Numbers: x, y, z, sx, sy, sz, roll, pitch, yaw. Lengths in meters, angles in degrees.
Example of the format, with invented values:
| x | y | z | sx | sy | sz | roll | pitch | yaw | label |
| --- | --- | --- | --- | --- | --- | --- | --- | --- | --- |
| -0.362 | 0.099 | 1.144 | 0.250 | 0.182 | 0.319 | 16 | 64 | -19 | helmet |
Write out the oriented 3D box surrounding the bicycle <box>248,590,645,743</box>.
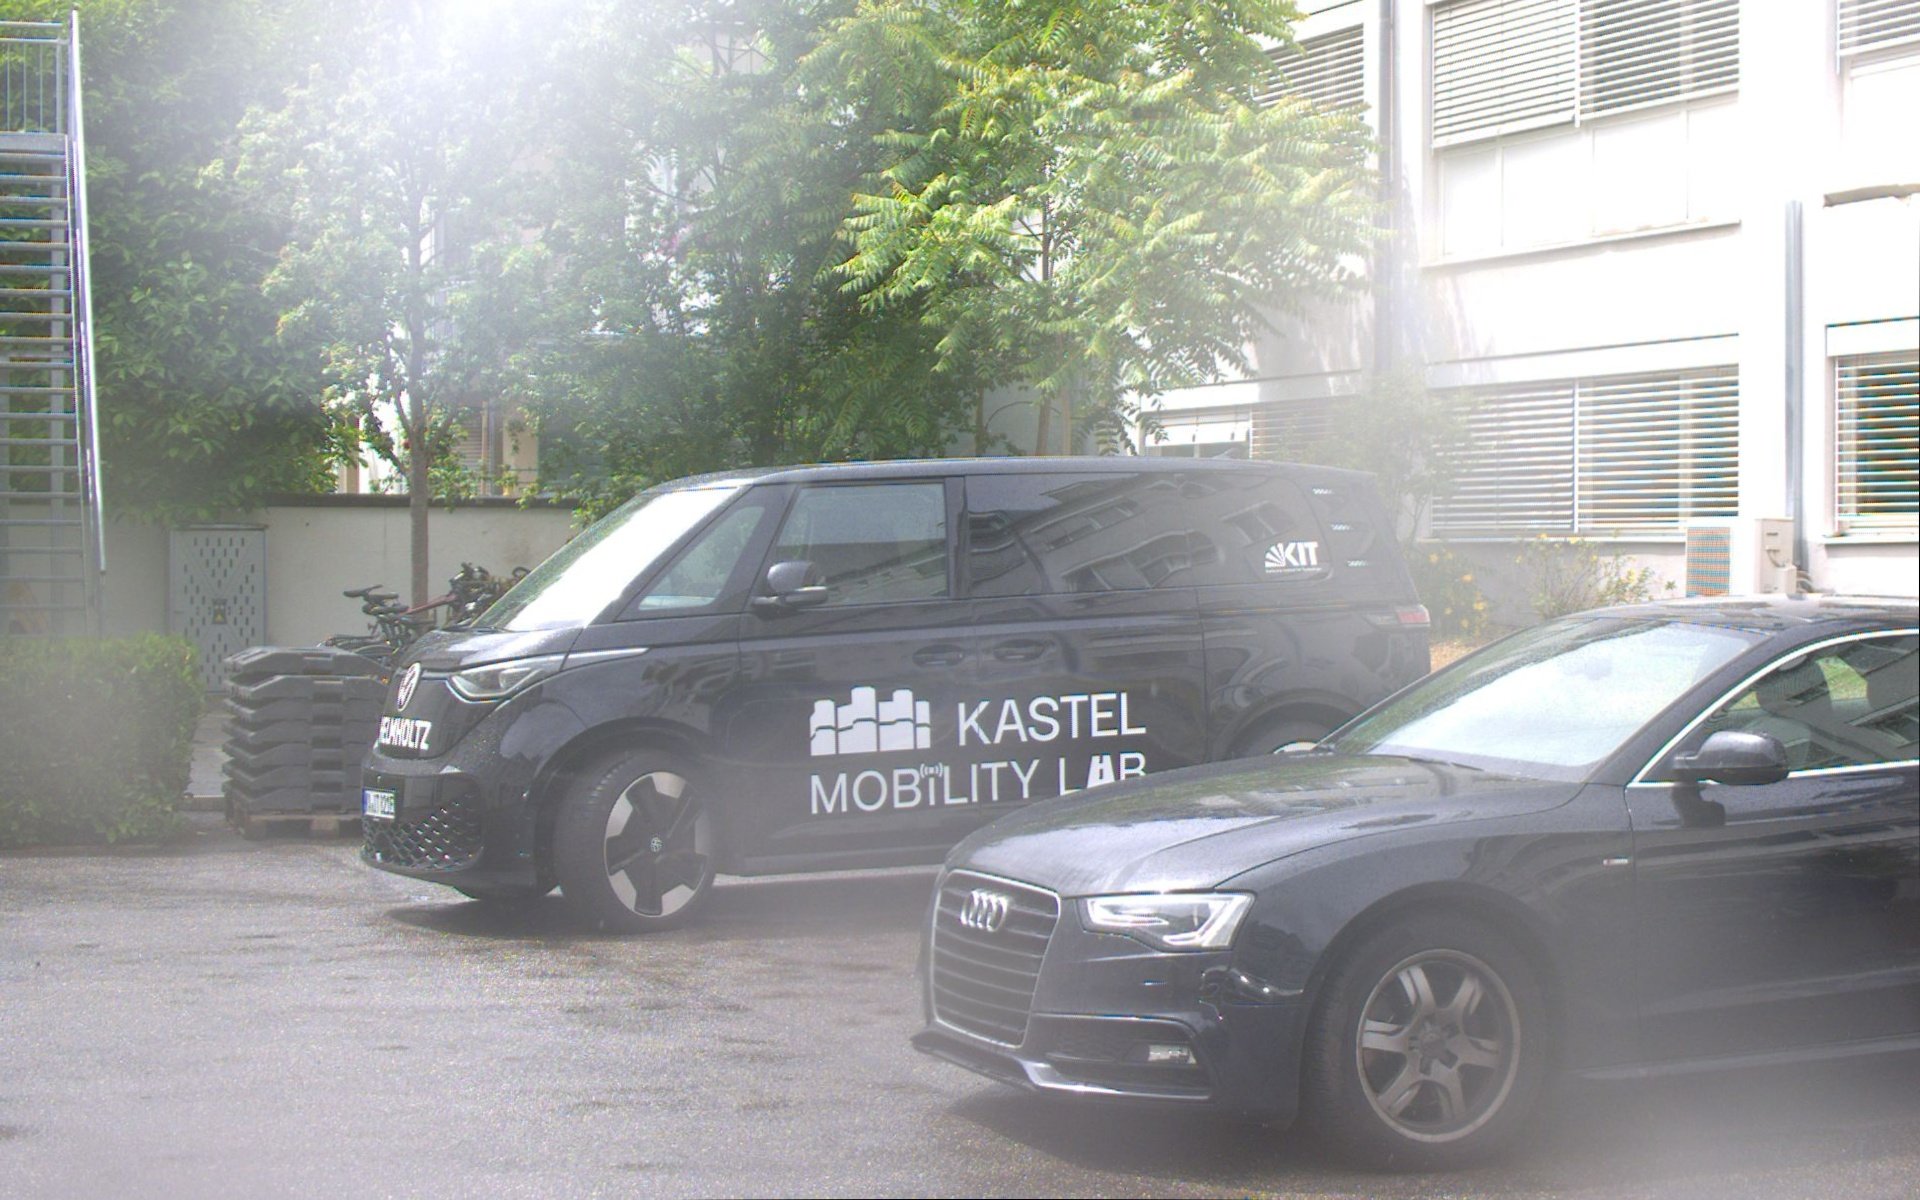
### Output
| x | y | z | sx | sy | sz | roll | pitch | yaw | label |
| --- | --- | --- | --- | --- | --- | --- | --- | --- | --- |
| -3.844 | 0.502 | 25.789 | 2.842 | 1.074 | 0.689 | 1 | 1 | -20 | bicycle |

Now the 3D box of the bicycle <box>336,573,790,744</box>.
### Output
| x | y | z | sx | sy | sz | roll | pitch | yaw | label |
| --- | --- | --- | --- | --- | --- | --- | --- | --- | --- |
| -2.656 | 0.394 | 23.099 | 2.922 | 1.074 | 0.689 | 1 | 1 | -20 | bicycle |

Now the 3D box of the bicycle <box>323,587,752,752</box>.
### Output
| x | y | z | sx | sy | sz | roll | pitch | yaw | label |
| --- | --- | --- | --- | --- | --- | --- | --- | --- | --- |
| -2.919 | 0.486 | 23.837 | 2.842 | 1.074 | 0.689 | 1 | 1 | -20 | bicycle |

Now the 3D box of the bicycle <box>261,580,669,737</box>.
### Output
| x | y | z | sx | sy | sz | roll | pitch | yaw | label |
| --- | --- | --- | --- | --- | --- | --- | --- | --- | --- |
| -3.606 | 0.433 | 25.119 | 2.842 | 1.074 | 0.689 | 1 | 1 | -20 | bicycle |

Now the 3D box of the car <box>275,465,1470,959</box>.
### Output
| x | y | z | sx | sy | sz | roll | pitch | yaw | label |
| --- | --- | --- | --- | --- | --- | --- | --- | --- | --- |
| -0.384 | 0.371 | 14.916 | 4.708 | 1.827 | 2.111 | -2 | 1 | -23 | car |

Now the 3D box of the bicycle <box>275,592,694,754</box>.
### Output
| x | y | z | sx | sy | sz | roll | pitch | yaw | label |
| --- | --- | --- | --- | --- | --- | --- | --- | --- | --- |
| -3.372 | 0.522 | 24.446 | 2.842 | 1.074 | 0.689 | 1 | 1 | -20 | bicycle |

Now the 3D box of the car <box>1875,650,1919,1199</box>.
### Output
| x | y | z | sx | sy | sz | roll | pitch | yaw | label |
| --- | --- | --- | --- | --- | --- | --- | --- | --- | --- |
| 3.742 | 0.741 | 5.331 | 4.169 | 1.396 | 1.940 | -1 | 1 | -23 | car |

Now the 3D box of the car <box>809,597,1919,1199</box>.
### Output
| x | y | z | sx | sy | sz | roll | pitch | yaw | label |
| --- | --- | --- | --- | --- | --- | --- | --- | --- | --- |
| 1.950 | 0.710 | 9.577 | 4.352 | 1.344 | 1.861 | -1 | 2 | -23 | car |
